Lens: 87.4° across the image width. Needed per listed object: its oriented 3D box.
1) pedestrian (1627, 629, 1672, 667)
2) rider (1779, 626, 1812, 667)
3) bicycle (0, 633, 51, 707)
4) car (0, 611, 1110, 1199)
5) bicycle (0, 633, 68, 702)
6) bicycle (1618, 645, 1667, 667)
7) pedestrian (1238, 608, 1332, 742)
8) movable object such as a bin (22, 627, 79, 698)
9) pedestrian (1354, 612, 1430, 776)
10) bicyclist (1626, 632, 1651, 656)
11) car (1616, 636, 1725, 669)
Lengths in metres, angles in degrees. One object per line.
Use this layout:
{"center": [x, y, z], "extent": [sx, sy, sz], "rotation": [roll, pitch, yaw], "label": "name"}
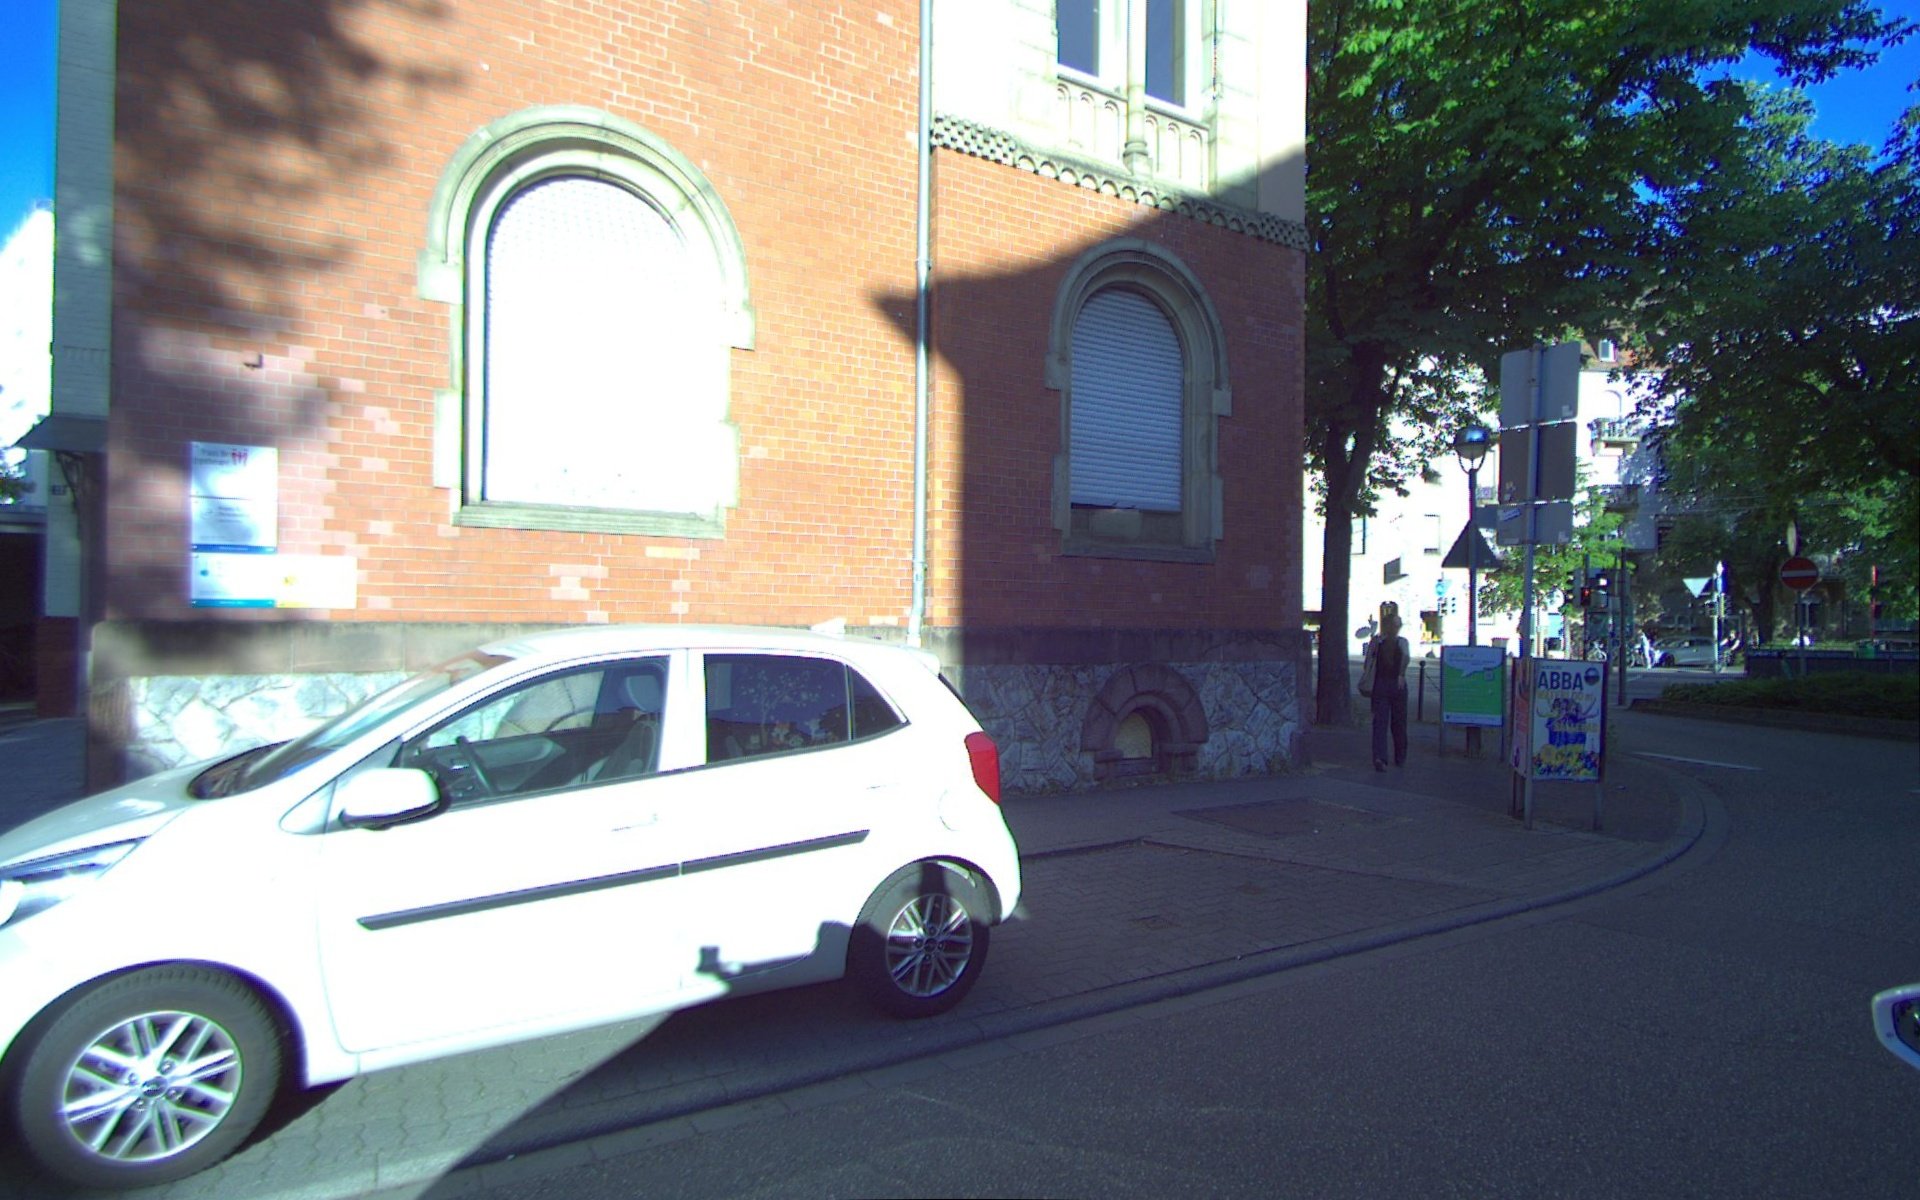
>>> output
{"center": [35.673, 2.475, 51.985], "extent": [1.465, 1.937, 1.260], "rotation": [0, -2, -3], "label": "pedestrian"}
{"center": [35.002, 1.942, 42.082], "extent": [0.660, 1.704, 0.818], "rotation": [1, 0, -19], "label": "rider"}
{"center": [-14.120, 1.007, 14.494], "extent": [1.345, 1.031, 0.674], "rotation": [0, -4, 1], "label": "bicycle"}
{"center": [-1.420, 0.844, 4.001], "extent": [3.752, 1.505, 1.697], "rotation": [1, 0, -30], "label": "car"}
{"center": [-14.421, 1.013, 15.122], "extent": [1.455, 1.004, 0.543], "rotation": [0, -4, 1], "label": "bicycle"}
{"center": [29.939, 2.446, 44.085], "extent": [1.708, 0.958, 0.654], "rotation": [0, -2, -2], "label": "bicycle"}
{"center": [4.228, 0.949, 13.063], "extent": [0.854, 1.665, 0.859], "rotation": [2, -2, -42], "label": "pedestrian"}
{"center": [-15.015, 1.015, 16.600], "extent": [0.531, 1.139, 0.773], "rotation": [1, -2, -30], "label": "movable object such as a bin"}
{"center": [4.502, 0.947, 10.455], "extent": [0.591, 1.626, 0.853], "rotation": [-1, -2, 33], "label": "pedestrian"}
{"center": [29.783, 1.937, 44.087], "extent": [0.664, 1.068, 0.612], "rotation": [0, -2, -3], "label": "bicyclist"}
{"center": [32.176, 2.355, 45.561], "extent": [3.635, 1.458, 1.900], "rotation": [0, -2, -4], "label": "car"}
